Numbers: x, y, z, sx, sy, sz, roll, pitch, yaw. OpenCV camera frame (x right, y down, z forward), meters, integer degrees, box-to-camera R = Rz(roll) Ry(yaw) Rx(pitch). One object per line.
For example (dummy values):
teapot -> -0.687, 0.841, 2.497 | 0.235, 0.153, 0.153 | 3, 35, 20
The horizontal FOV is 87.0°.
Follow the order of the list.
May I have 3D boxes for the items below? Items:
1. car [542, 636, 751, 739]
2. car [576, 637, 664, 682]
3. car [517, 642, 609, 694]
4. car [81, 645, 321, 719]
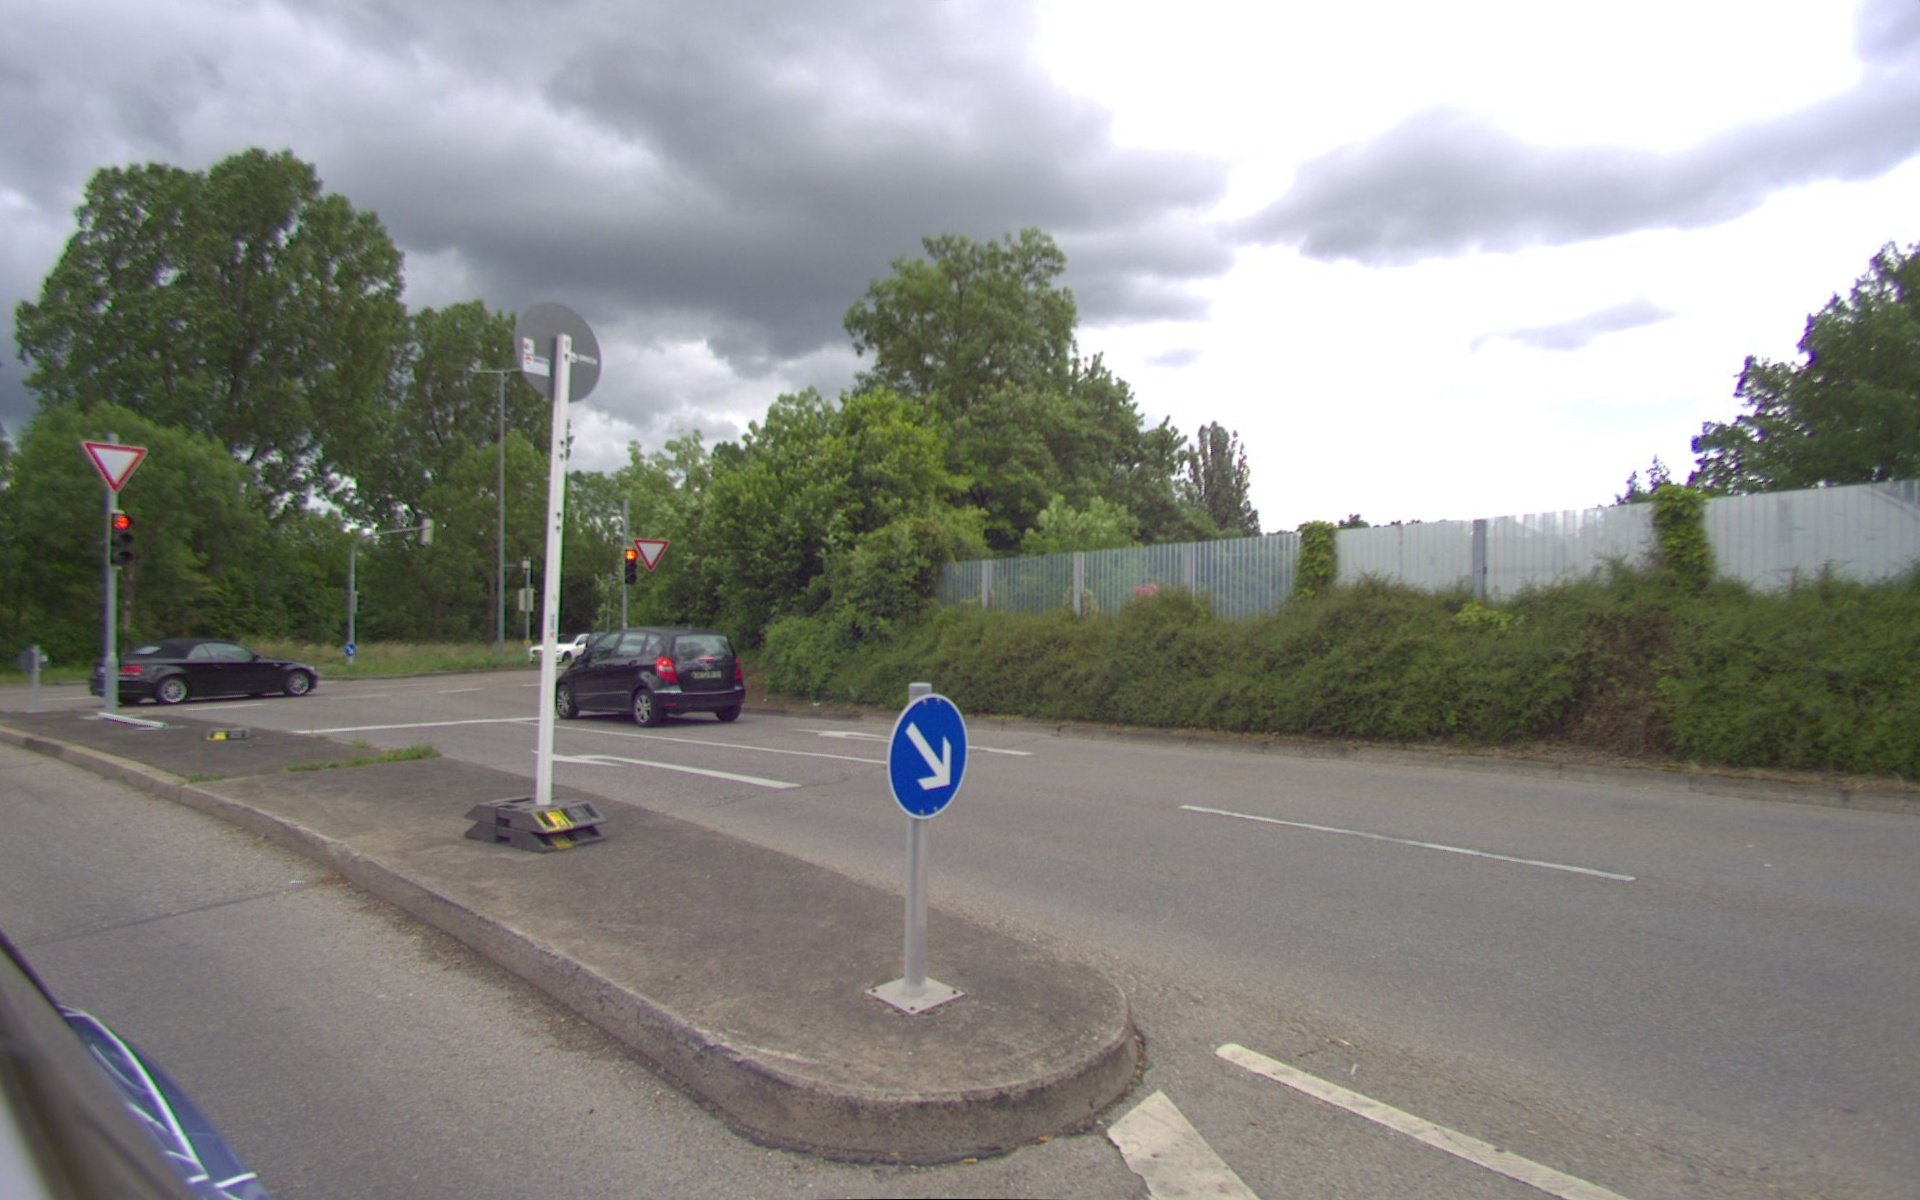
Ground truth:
car -> -5.386, 1.431, 17.204 | 3.786, 1.564, 1.621 | -3, -4, 41
car -> -12.317, 2.134, 36.853 | 1.532, 1.519, 3.367 | -1, -2, 12
car -> -18.559, 3.124, 47.527 | 1.916, 2.009, 4.304 | 1, 1, 13
car -> -16.685, 1.754, 22.480 | 1.559, 1.378, 4.049 | -2, -2, 24
